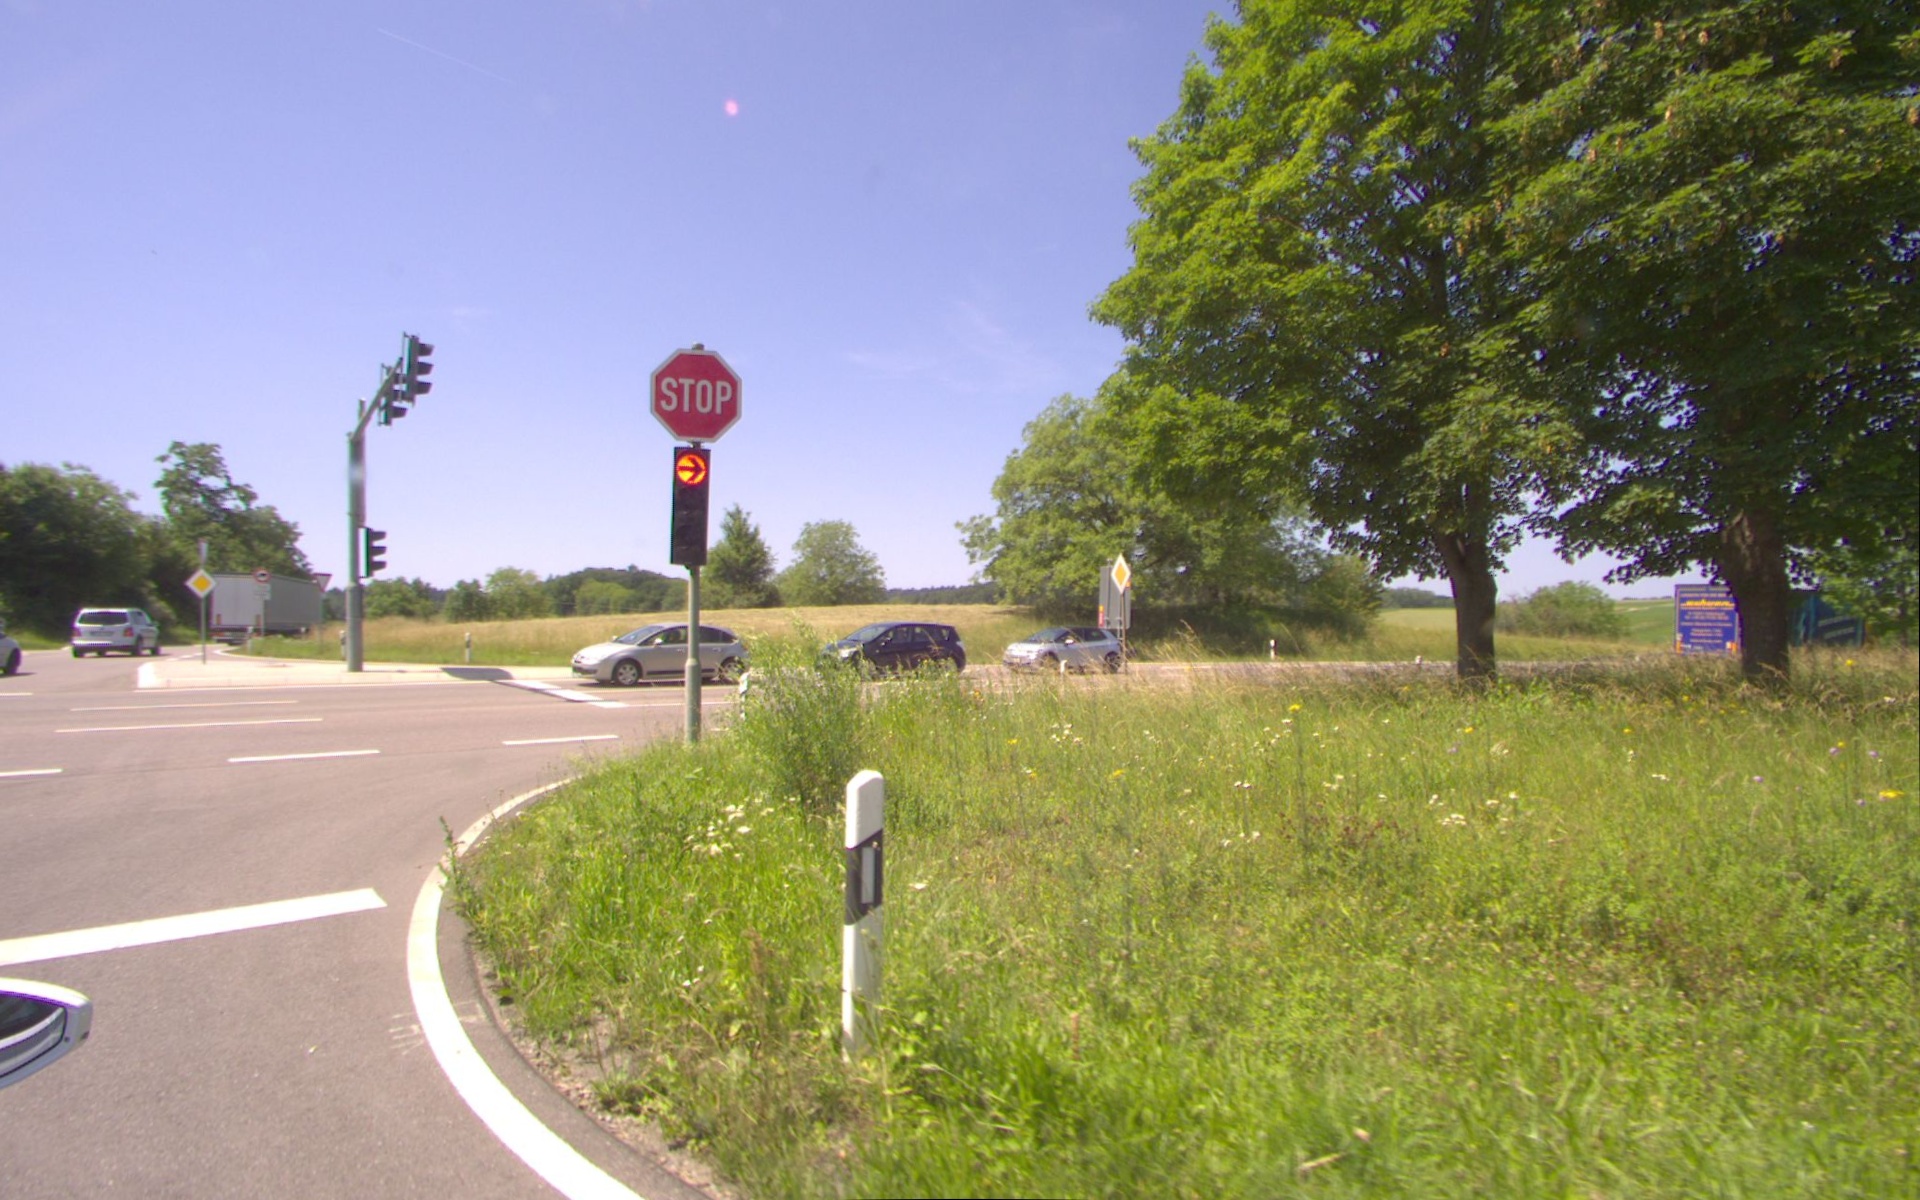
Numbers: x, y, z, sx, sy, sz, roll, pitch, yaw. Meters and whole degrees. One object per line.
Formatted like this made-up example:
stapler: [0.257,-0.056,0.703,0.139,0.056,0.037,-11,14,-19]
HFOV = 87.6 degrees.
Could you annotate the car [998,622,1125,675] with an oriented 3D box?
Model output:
car: [3.328,1.583,32.645,3.970,1.573,1.643,2,0,-35]

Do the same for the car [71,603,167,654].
car: [-29.463,0.955,35.202,1.792,1.646,4.039,0,0,-29]

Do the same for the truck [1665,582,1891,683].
truck: [38.946,1.571,47.268,16.578,4.185,2.836,2,-1,-31]

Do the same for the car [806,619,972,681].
car: [-1.941,1.378,28.003,4.327,1.573,1.717,2,0,-35]

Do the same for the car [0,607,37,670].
car: [-23.025,0.884,22.880,1.790,1.431,3.768,1,-1,-26]

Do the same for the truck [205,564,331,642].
truck: [-42.632,0.340,62.423,3.085,4.226,16.635,1,-1,-23]

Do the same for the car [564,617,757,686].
car: [-7.191,1.218,24.212,4.122,1.489,1.715,2,0,-38]
